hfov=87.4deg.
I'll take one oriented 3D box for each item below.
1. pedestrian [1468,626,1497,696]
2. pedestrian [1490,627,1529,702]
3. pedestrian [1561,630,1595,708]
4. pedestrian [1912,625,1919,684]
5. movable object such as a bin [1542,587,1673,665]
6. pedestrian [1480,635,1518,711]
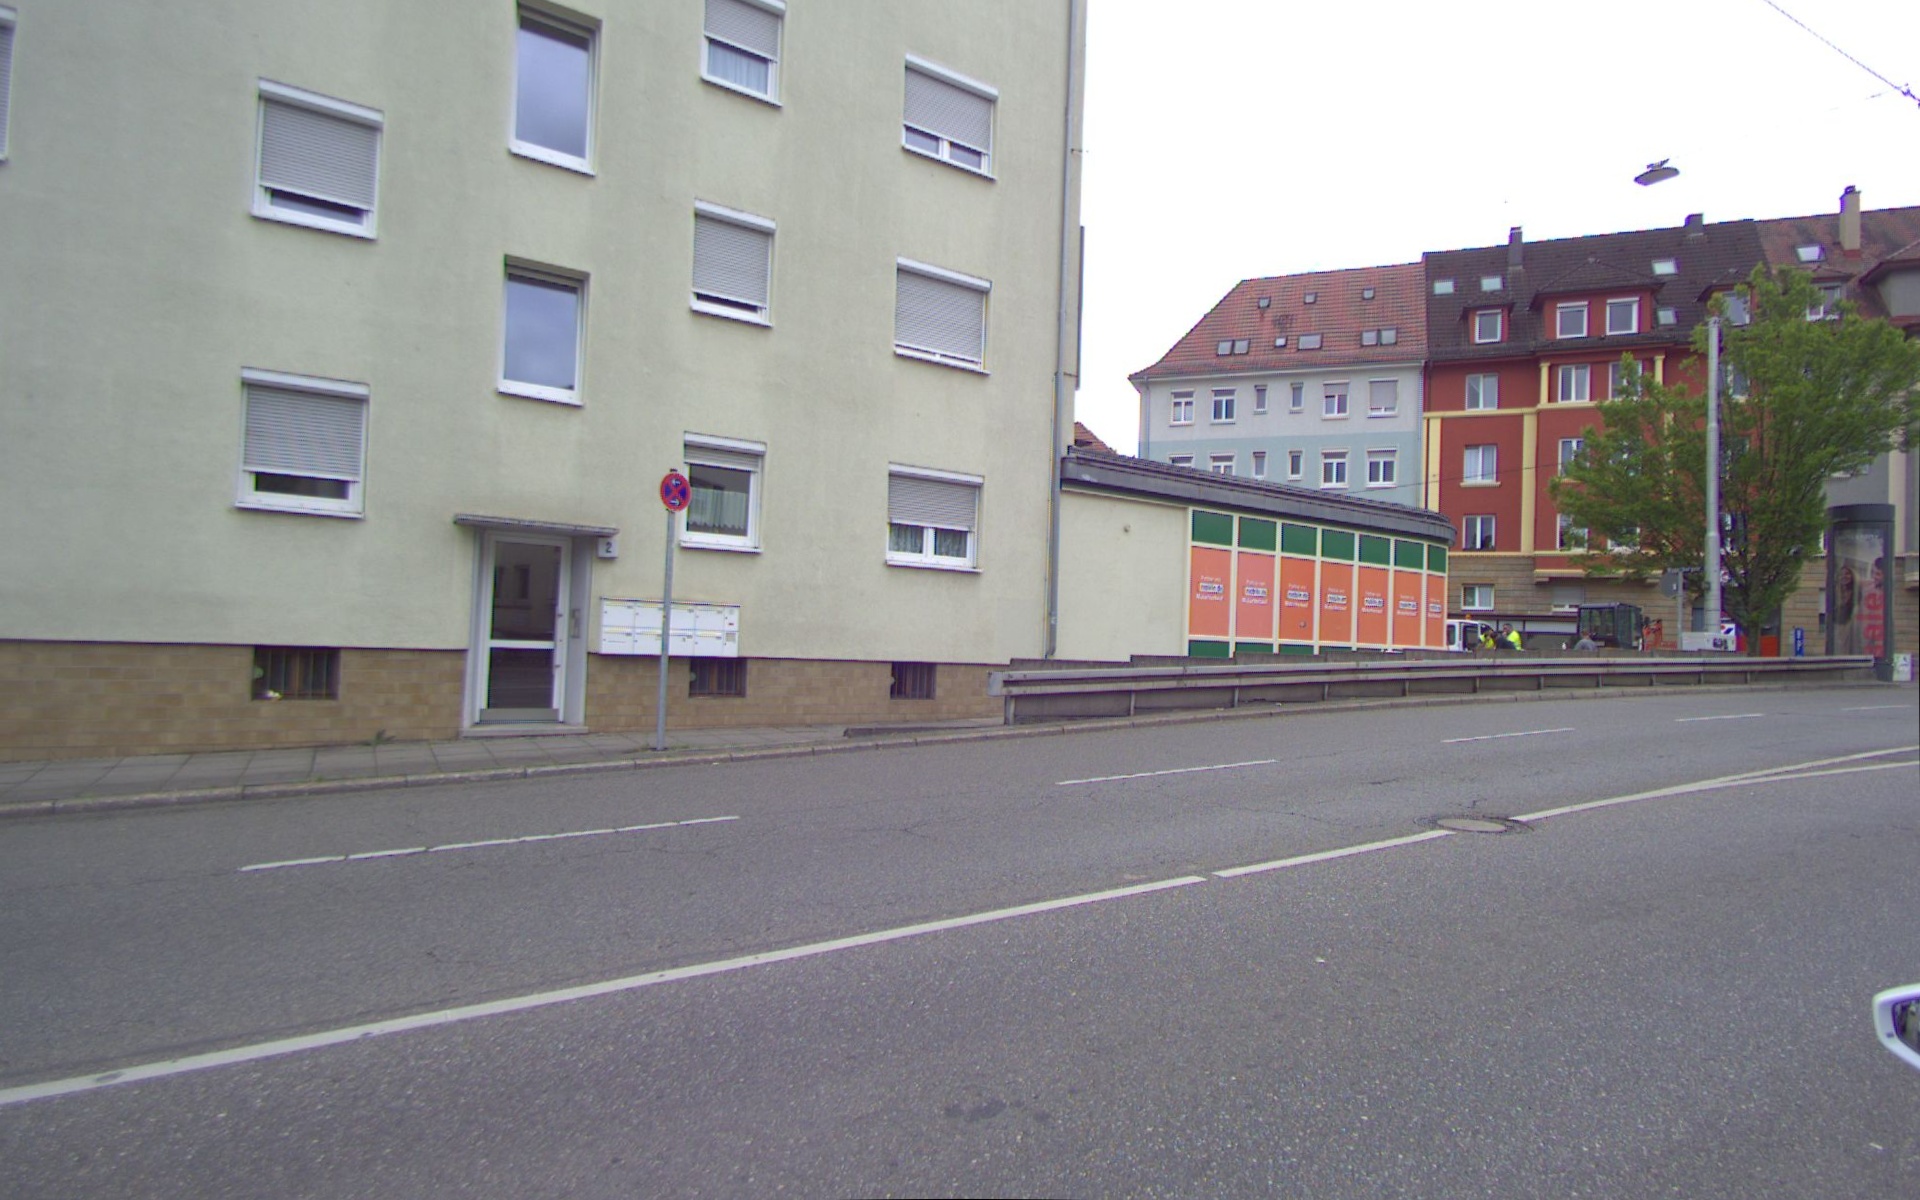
[{"bbox_3d":[13.462,1.561,25.894,0.467,1.753,0.543,2,1,14],"label":"pedestrian"},{"bbox_3d":[13.577,1.592,24.828,0.605,1.785,0.573,2,1,5],"label":"pedestrian"},{"bbox_3d":[14.362,1.585,23.355,0.533,1.753,0.593,3,1,26],"label":"pedestrian"},{"bbox_3d":[26.173,1.475,27.067,0.480,1.588,0.586,2,1,-30],"label":"pedestrian"},{"bbox_3d":[16.594,0.645,25.671,3.972,1.795,1.884,2,1,-43],"label":"movable object such as a bin"},{"bbox_3d":[12.664,1.705,23.593,0.539,1.722,0.557,1,1,-41],"label":"pedestrian"}]
